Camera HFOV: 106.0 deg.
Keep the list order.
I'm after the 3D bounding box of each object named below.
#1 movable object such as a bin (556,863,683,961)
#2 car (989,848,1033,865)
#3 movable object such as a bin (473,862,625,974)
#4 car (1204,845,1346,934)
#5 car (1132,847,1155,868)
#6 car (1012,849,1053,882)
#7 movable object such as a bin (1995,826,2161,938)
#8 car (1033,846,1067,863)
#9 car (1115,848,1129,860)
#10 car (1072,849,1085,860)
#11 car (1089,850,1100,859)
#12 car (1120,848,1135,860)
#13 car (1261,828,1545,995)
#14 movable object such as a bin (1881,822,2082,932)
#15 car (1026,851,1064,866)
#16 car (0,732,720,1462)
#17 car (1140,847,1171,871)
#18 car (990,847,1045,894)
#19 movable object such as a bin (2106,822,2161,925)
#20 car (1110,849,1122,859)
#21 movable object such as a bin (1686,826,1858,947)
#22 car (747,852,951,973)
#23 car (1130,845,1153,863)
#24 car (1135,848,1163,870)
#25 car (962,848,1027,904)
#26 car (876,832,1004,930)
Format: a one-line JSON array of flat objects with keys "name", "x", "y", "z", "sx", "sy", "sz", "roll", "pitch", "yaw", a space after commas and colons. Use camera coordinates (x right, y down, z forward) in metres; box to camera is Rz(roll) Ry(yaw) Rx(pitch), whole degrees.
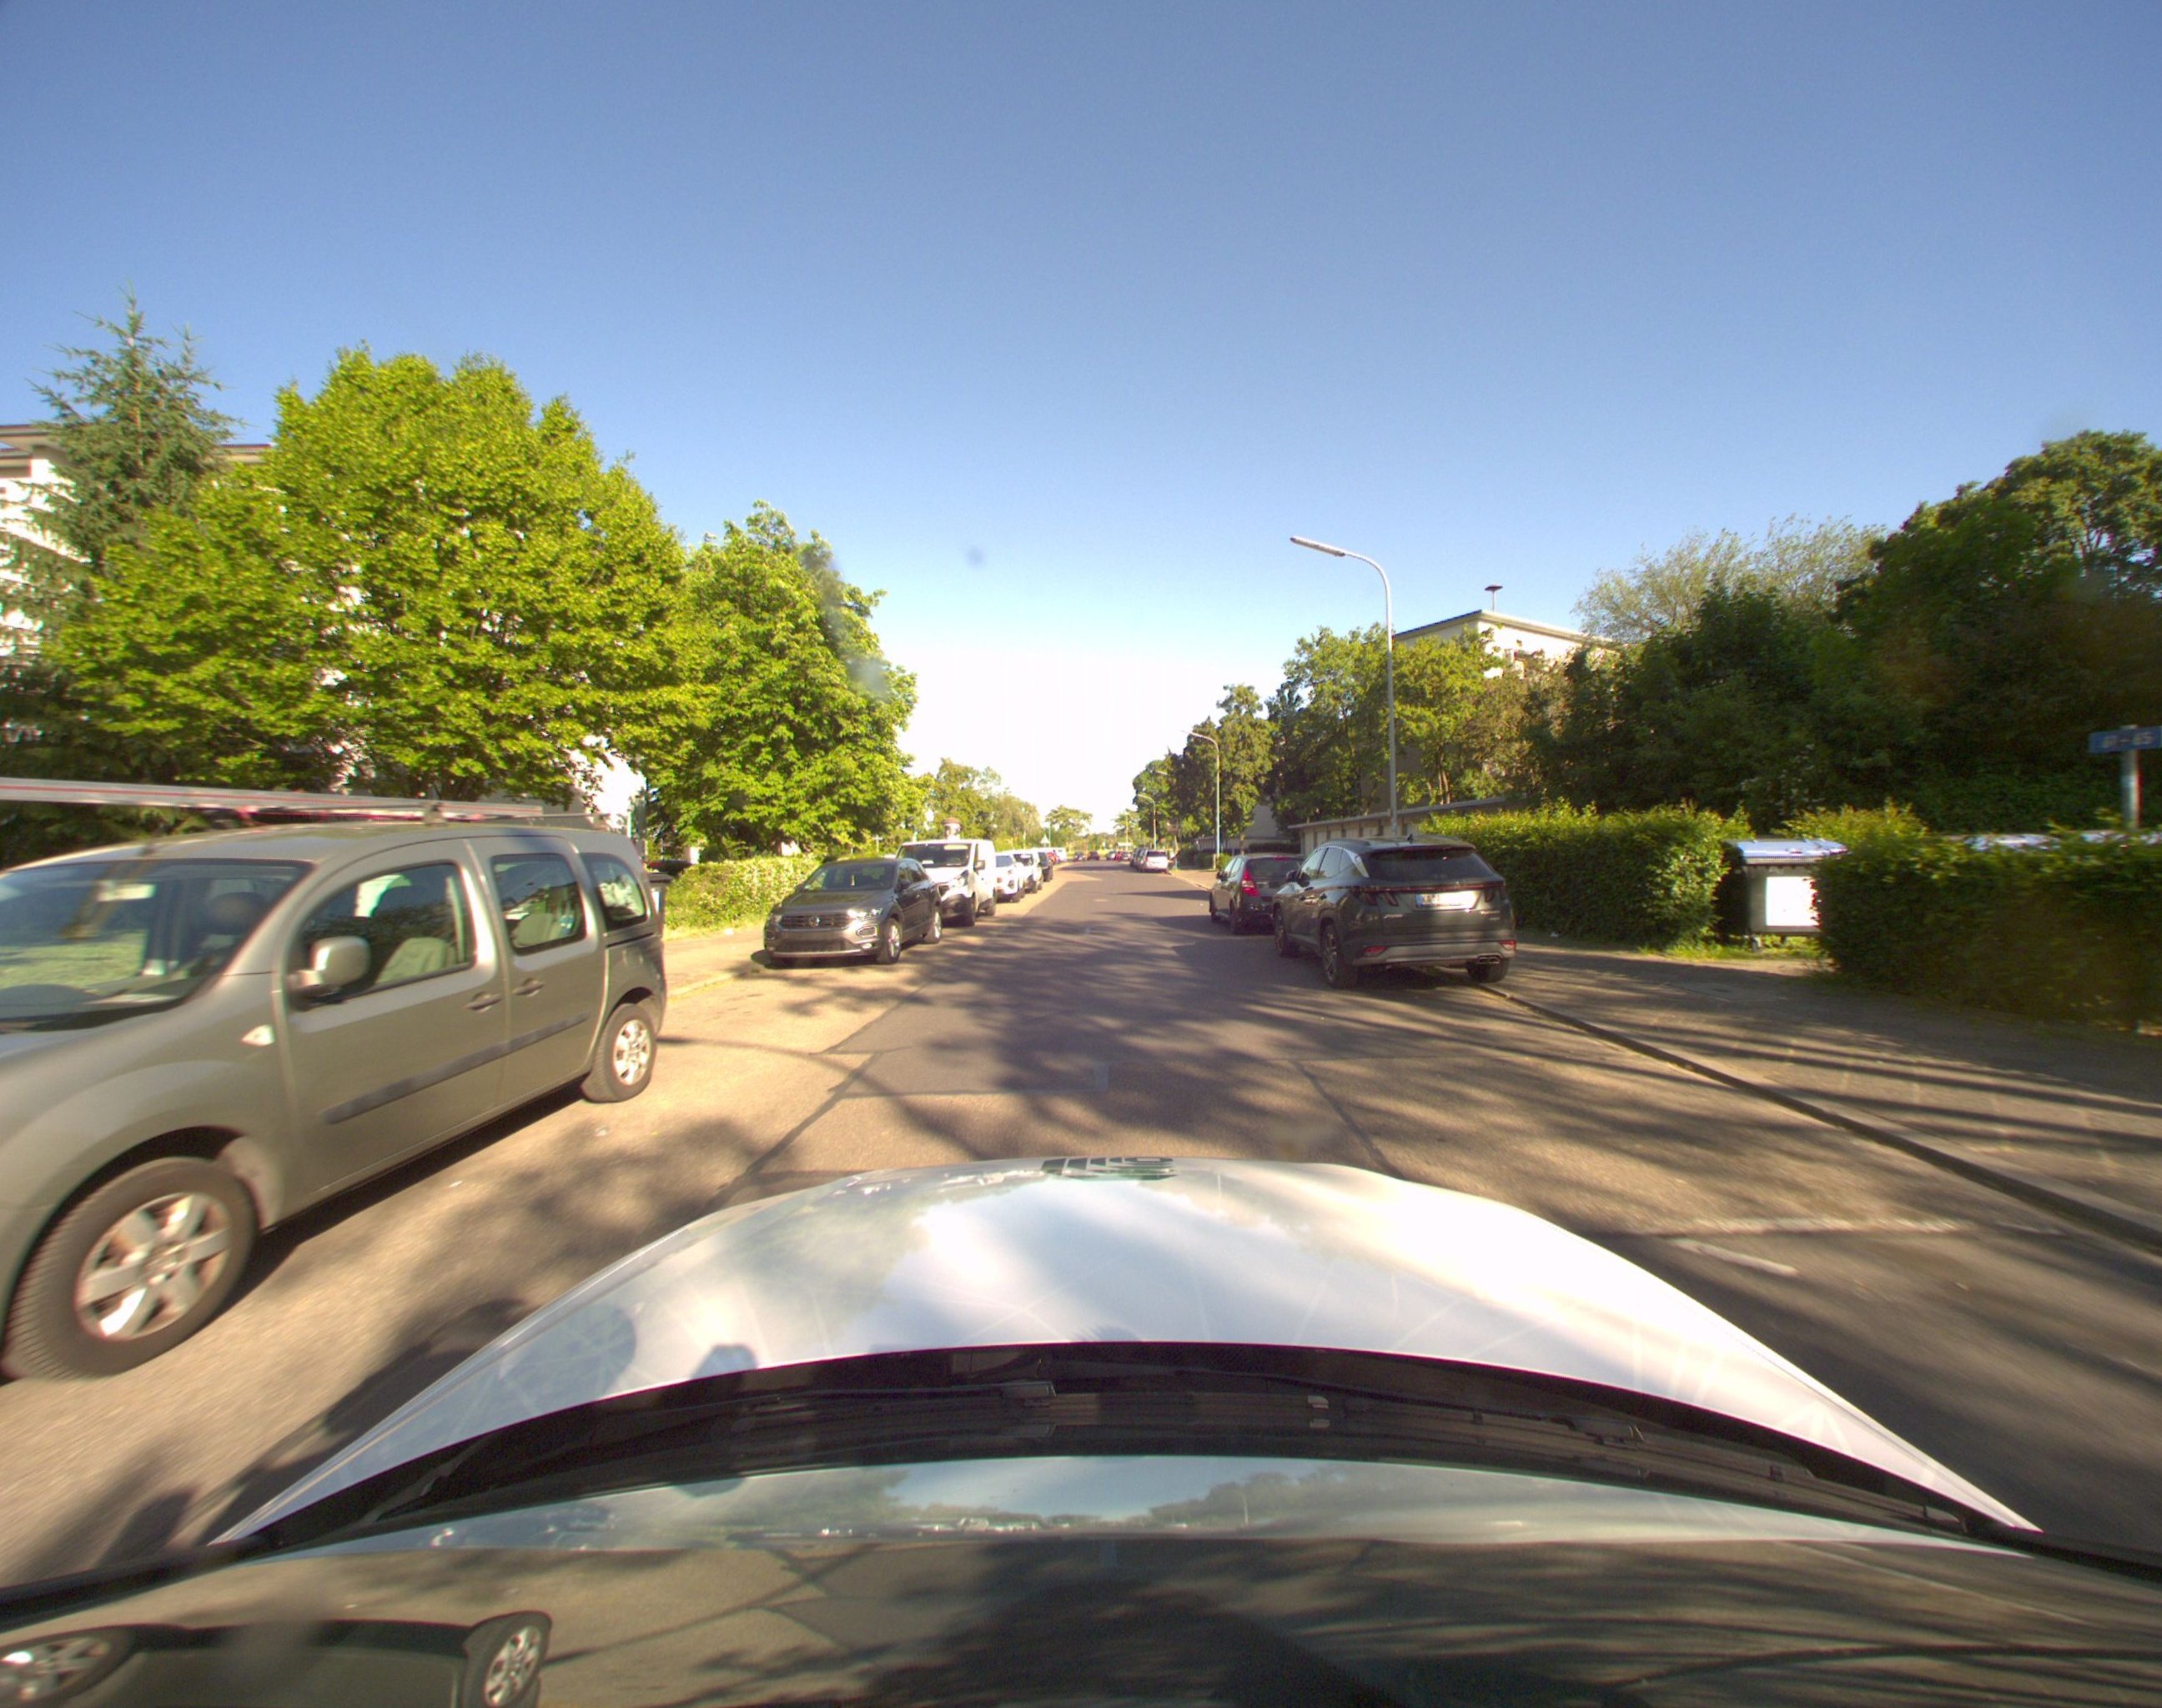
[{"name": "movable object such as a bin", "x": -7.004, "y": 0.849, "z": 12.460, "sx": 1.097, "sy": 1.356, "sz": 1.361, "roll": 2, "pitch": 0, "yaw": 2}, {"name": "car", "x": -6.460, "y": 0.199, "z": 75.550, "sx": 4.045, "sy": 1.561, "sz": 1.799, "roll": 0, "pitch": 0, "yaw": -4}, {"name": "movable object such as a bin", "x": -7.156, "y": 0.818, "z": 11.057, "sx": 1.097, "sy": 1.371, "sz": 1.361, "roll": 2, "pitch": 0, "yaw": 2}, {"name": "car", "x": 3.648, "y": 0.595, "z": 16.097, "sx": 1.901, "sy": 1.530, "sz": 4.330, "roll": 0, "pitch": 0, "yaw": 2}, {"name": "car", "x": 5.495, "y": 0.309, "z": 71.981, "sx": 1.790, "sy": 1.786, "sz": 3.950, "roll": 0, "pitch": 0, "yaw": -1}, {"name": "car", "x": -2.499, "y": 0.559, "z": 43.038, "sx": 1.740, "sy": 1.613, "sz": 4.309, "roll": -2, "pitch": 0, "yaw": 2}, {"name": "movable object such as a bin", "x": 13.181, "y": 0.336, "z": 10.550, "sx": 1.250, "sy": 1.353, "sz": 1.279, "roll": 0, "pitch": 0, "yaw": 1}, {"name": "car", "x": -3.759, "y": 0.064, "z": 98.535, "sx": 4.045, "sy": 1.992, "sz": 1.799, "roll": 0, "pitch": 0, "yaw": -4}, {"name": "car", "x": 5.994, "y": -0.029, "z": 118.805, "sx": 1.790, "sy": 1.643, "sz": 3.950, "roll": 0, "pitch": 0, "yaw": -1}, {"name": "car", "x": -0.376, "y": 0.003, "z": 117.692, "sx": 1.790, "sy": 1.561, "sz": 3.950, "roll": 0, "pitch": 0, "yaw": -1}, {"name": "car", "x": 2.207, "y": 0.041, "z": 132.295, "sx": 1.674, "sy": 1.513, "sz": 4.103, "roll": 1, "pitch": 0, "yaw": -1}, {"name": "car", "x": 6.321, "y": -0.010, "z": 111.499, "sx": 1.790, "sy": 1.548, "sz": 3.950, "roll": 0, "pitch": 0, "yaw": -1}, {"name": "car", "x": 3.677, "y": 0.556, "z": 10.321, "sx": 1.901, "sy": 1.639, "sz": 4.630, "roll": 0, "pitch": 0, "yaw": 2}, {"name": "movable object such as a bin", "x": 11.798, "y": 0.282, "z": 10.743, "sx": 1.250, "sy": 1.353, "sz": 1.279, "roll": 0, "pitch": 0, "yaw": 1}, {"name": "car", "x": -3.809, "y": 0.501, "z": 85.939, "sx": 4.045, "sy": 1.561, "sz": 1.799, "roll": 0, "pitch": 0, "yaw": -4}, {"name": "car", "x": -3.739, "y": 0.647, "z": 4.028, "sx": 1.848, "sy": 1.892, "sz": 4.418, "roll": -2, "pitch": 0, "yaw": 0}, {"name": "car", "x": 5.093, "y": 0.332, "z": 56.222, "sx": 1.790, "sy": 1.561, "sz": 3.950, "roll": 0, "pitch": 0, "yaw": -1}, {"name": "car", "x": -2.526, "y": 0.617, "z": 33.182, "sx": 1.740, "sy": 1.732, "sz": 4.007, "roll": -2, "pitch": 0, "yaw": 2}, {"name": "movable object such as a bin", "x": 14.887, "y": 0.253, "z": 10.725, "sx": 1.253, "sy": 1.353, "sz": 1.276, "roll": 0, "pitch": 0, "yaw": -7}, {"name": "car", "x": 5.518, "y": -0.010, "z": 128.924, "sx": 1.790, "sy": 1.643, "sz": 3.950, "roll": 0, "pitch": 0, "yaw": -1}, {"name": "movable object such as a bin", "x": 8.893, "y": 0.402, "z": 10.553, "sx": 1.317, "sy": 1.475, "sz": 1.092, "roll": -1, "pitch": 0, "yaw": 6}, {"name": "car", "x": -3.432, "y": 0.781, "z": 12.941, "sx": 1.738, "sy": 1.533, "sz": 4.144, "roll": -2, "pitch": 0, "yaw": 4}, {"name": "car", "x": 5.675, "y": -0.005, "z": 76.670, "sx": 1.790, "sy": 1.643, "sz": 3.950, "roll": 0, "pitch": 0, "yaw": -1}, {"name": "car", "x": 5.088, "y": 0.347, "z": 61.469, "sx": 1.790, "sy": 1.561, "sz": 3.950, "roll": 0, "pitch": 0, "yaw": -1}, {"name": "car", "x": -2.841, "y": 0.662, "z": 27.474, "sx": 1.741, "sy": 1.669, "sz": 4.376, "roll": -2, "pitch": 0, "yaw": -1}, {"name": "car", "x": -3.137, "y": 0.538, "z": 19.301, "sx": 1.907, "sy": 1.962, "sz": 5.090, "roll": -2, "pitch": 0, "yaw": 2}]
